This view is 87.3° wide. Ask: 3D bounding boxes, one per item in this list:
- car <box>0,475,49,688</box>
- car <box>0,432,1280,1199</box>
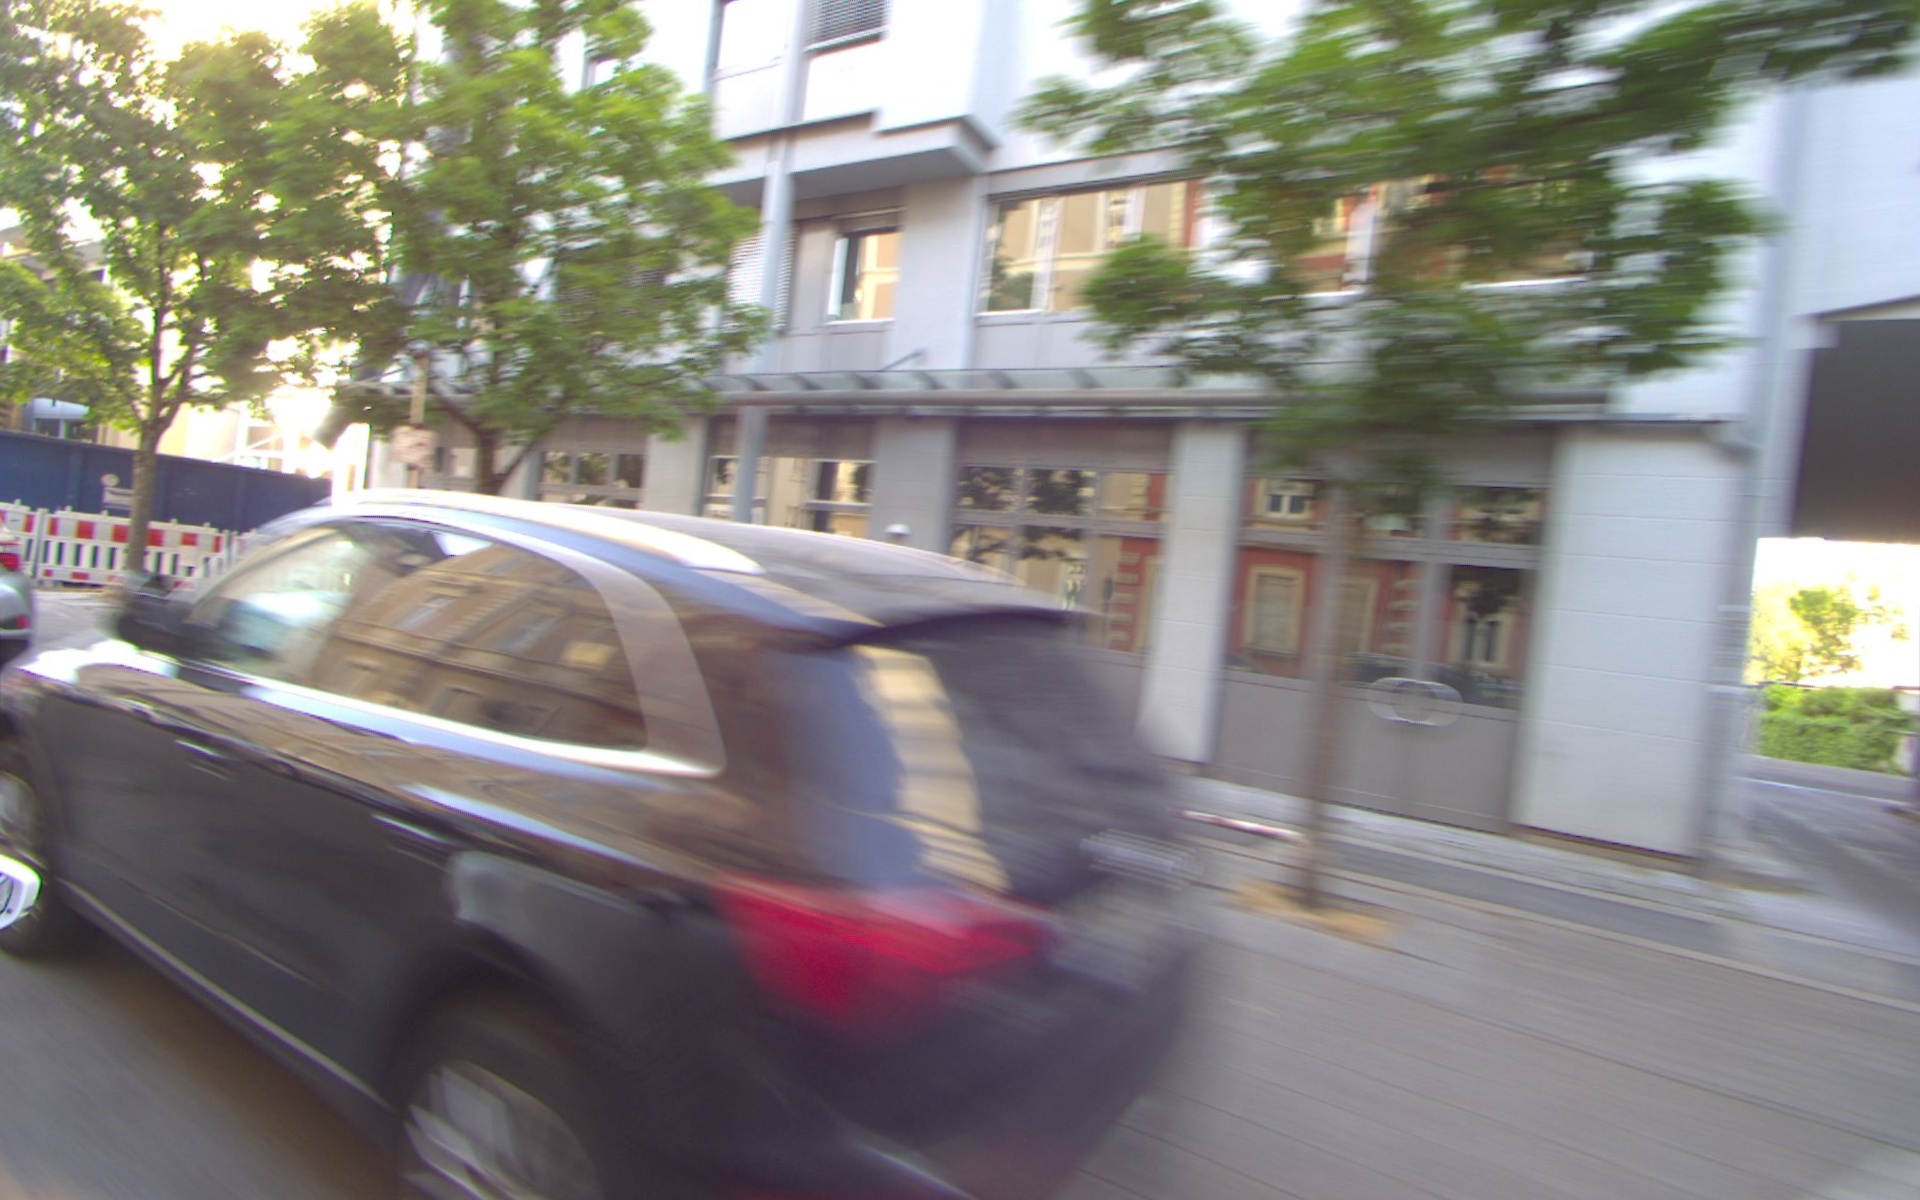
[{"bbox_3d":[-8.916,-0.347,7.859,3.906,1.544,1.677,7,1,33],"label":"car"},{"bbox_3d":[-1.487,0.471,3.261,4.361,1.643,1.886,7,1,32],"label":"car"}]
